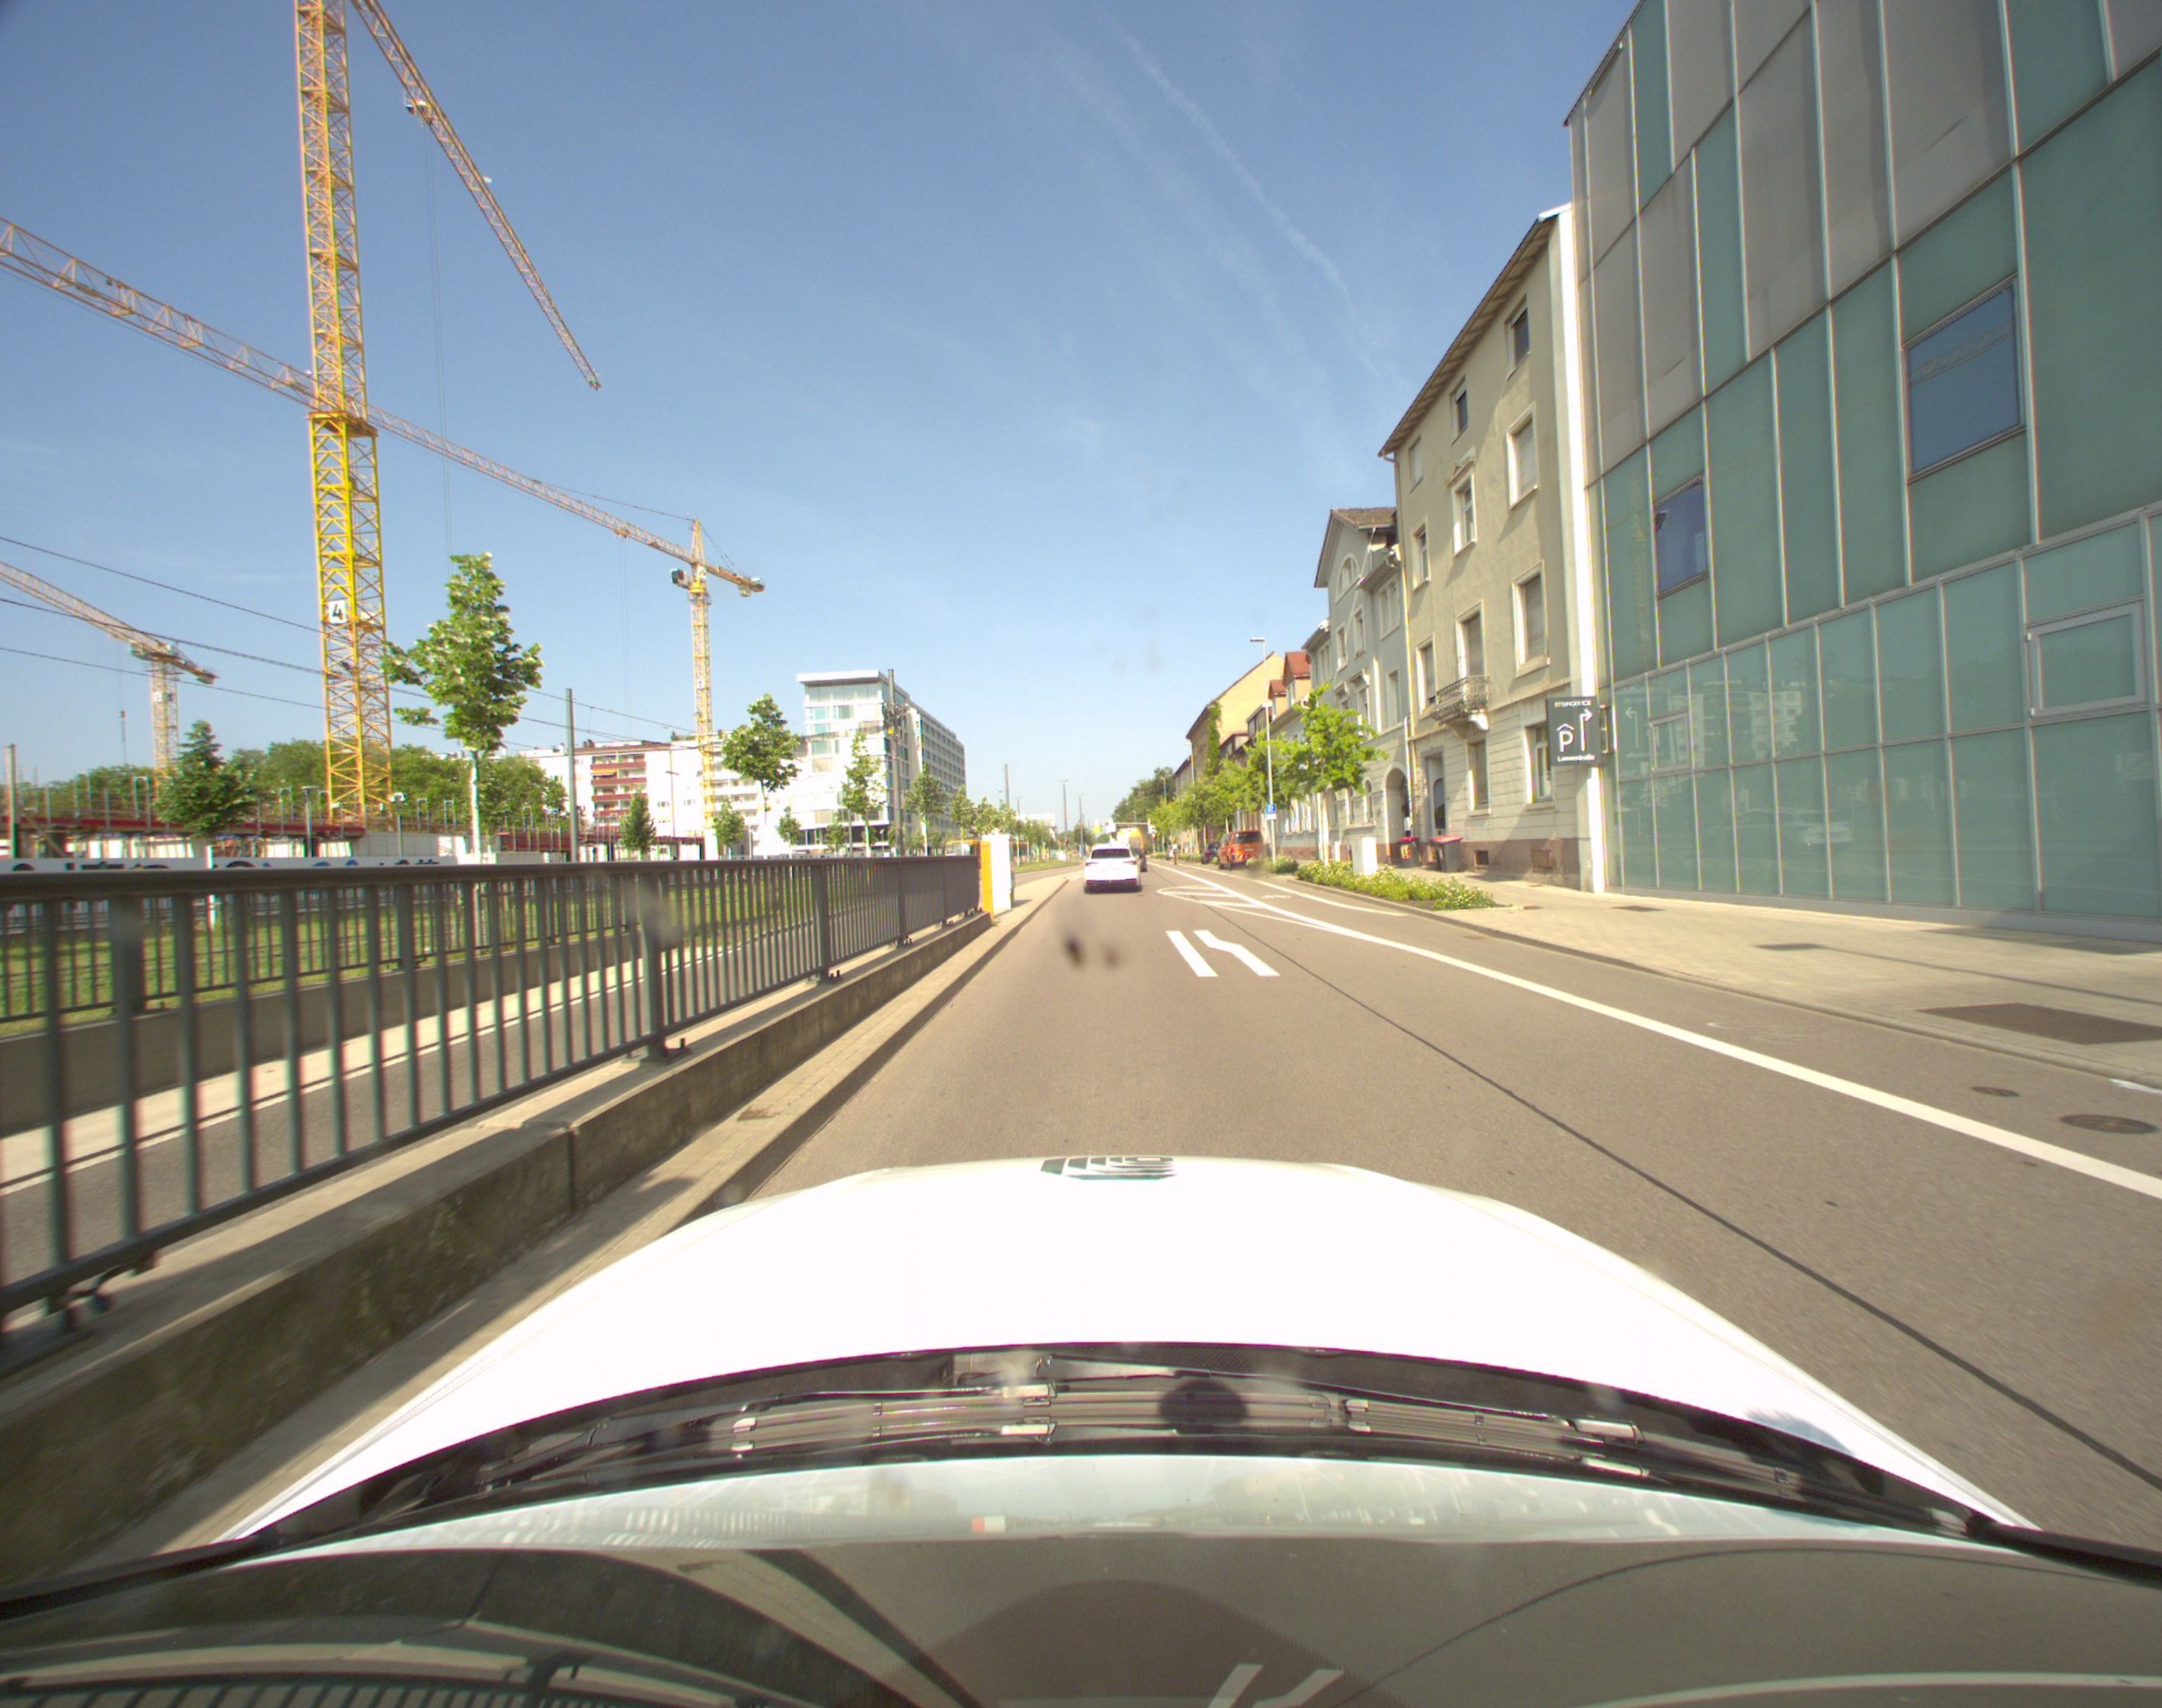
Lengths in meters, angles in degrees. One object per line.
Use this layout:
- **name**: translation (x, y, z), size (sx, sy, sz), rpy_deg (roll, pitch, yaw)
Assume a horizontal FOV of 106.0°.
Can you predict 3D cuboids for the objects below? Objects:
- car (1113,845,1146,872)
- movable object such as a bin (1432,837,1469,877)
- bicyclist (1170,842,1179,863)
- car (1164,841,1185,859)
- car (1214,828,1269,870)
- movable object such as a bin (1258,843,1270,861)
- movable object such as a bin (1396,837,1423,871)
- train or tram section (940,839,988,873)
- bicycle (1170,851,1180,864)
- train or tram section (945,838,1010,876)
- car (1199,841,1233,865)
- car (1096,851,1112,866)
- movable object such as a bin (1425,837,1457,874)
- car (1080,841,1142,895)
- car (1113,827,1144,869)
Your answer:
- **car**: translation (2.710, 0.224, 45.868), size (1.753, 1.436, 4.118), rpy_deg (-1, 0, 3)
- **movable object such as a bin**: translation (11.338, 0.076, 25.009), size (0.778, 1.172, 0.808), rpy_deg (-2, 2, 1)
- **bicyclist**: translation (7.154, -0.134, 62.266), size (0.636, 1.577, 0.772), rpy_deg (-2, 0, 4)
- **car**: translation (9.929, -0.474, 86.425), size (1.806, 1.812, 3.837), rpy_deg (-2, 0, 2)
- **car**: translation (8.427, -0.270, 43.218), size (2.055, 2.013, 4.590), rpy_deg (-3, 1, 2)
- **movable object such as a bin**: translation (12.495, -0.147, 55.635), size (0.677, 1.200, 0.781), rpy_deg (-2, 0, 1)
- **movable object such as a bin**: translation (11.458, -0.012, 28.430), size (0.674, 1.152, 0.610), rpy_deg (-4, 3, -42)
- **train or tram section**: translation (-13.571, 0.185, 95.839), size (2.849, 3.536, 14.905), rpy_deg (-2, 0, 2)
- **bicycle**: translation (7.160, 0.254, 62.138), size (0.652, 0.938, 1.519), rpy_deg (-2, 0, 4)
- **train or tram section**: translation (-10.789, 0.289, 87.700), size (2.892, 3.676, 18.163), rpy_deg (-1, 0, 5)
- **car**: translation (9.230, -0.056, 55.997), size (1.667, 1.483, 4.314), rpy_deg (-4, 0, 2)
- **car**: translation (2.990, 0.569, 104.321), size (1.922, 1.821, 4.004), rpy_deg (-2, 0, 3)
- **movable object such as a bin**: translation (11.474, 0.043, 25.976), size (0.702, 1.152, 0.671), rpy_deg (-2, 2, 1)
- **car**: translation (1.013, 0.422, 27.285), size (1.862, 1.574, 4.003), rpy_deg (-3, 0, 2)
- **car**: translation (3.422, -0.518, 58.998), size (2.012, 2.795, 5.405), rpy_deg (-3, 2, 2)
